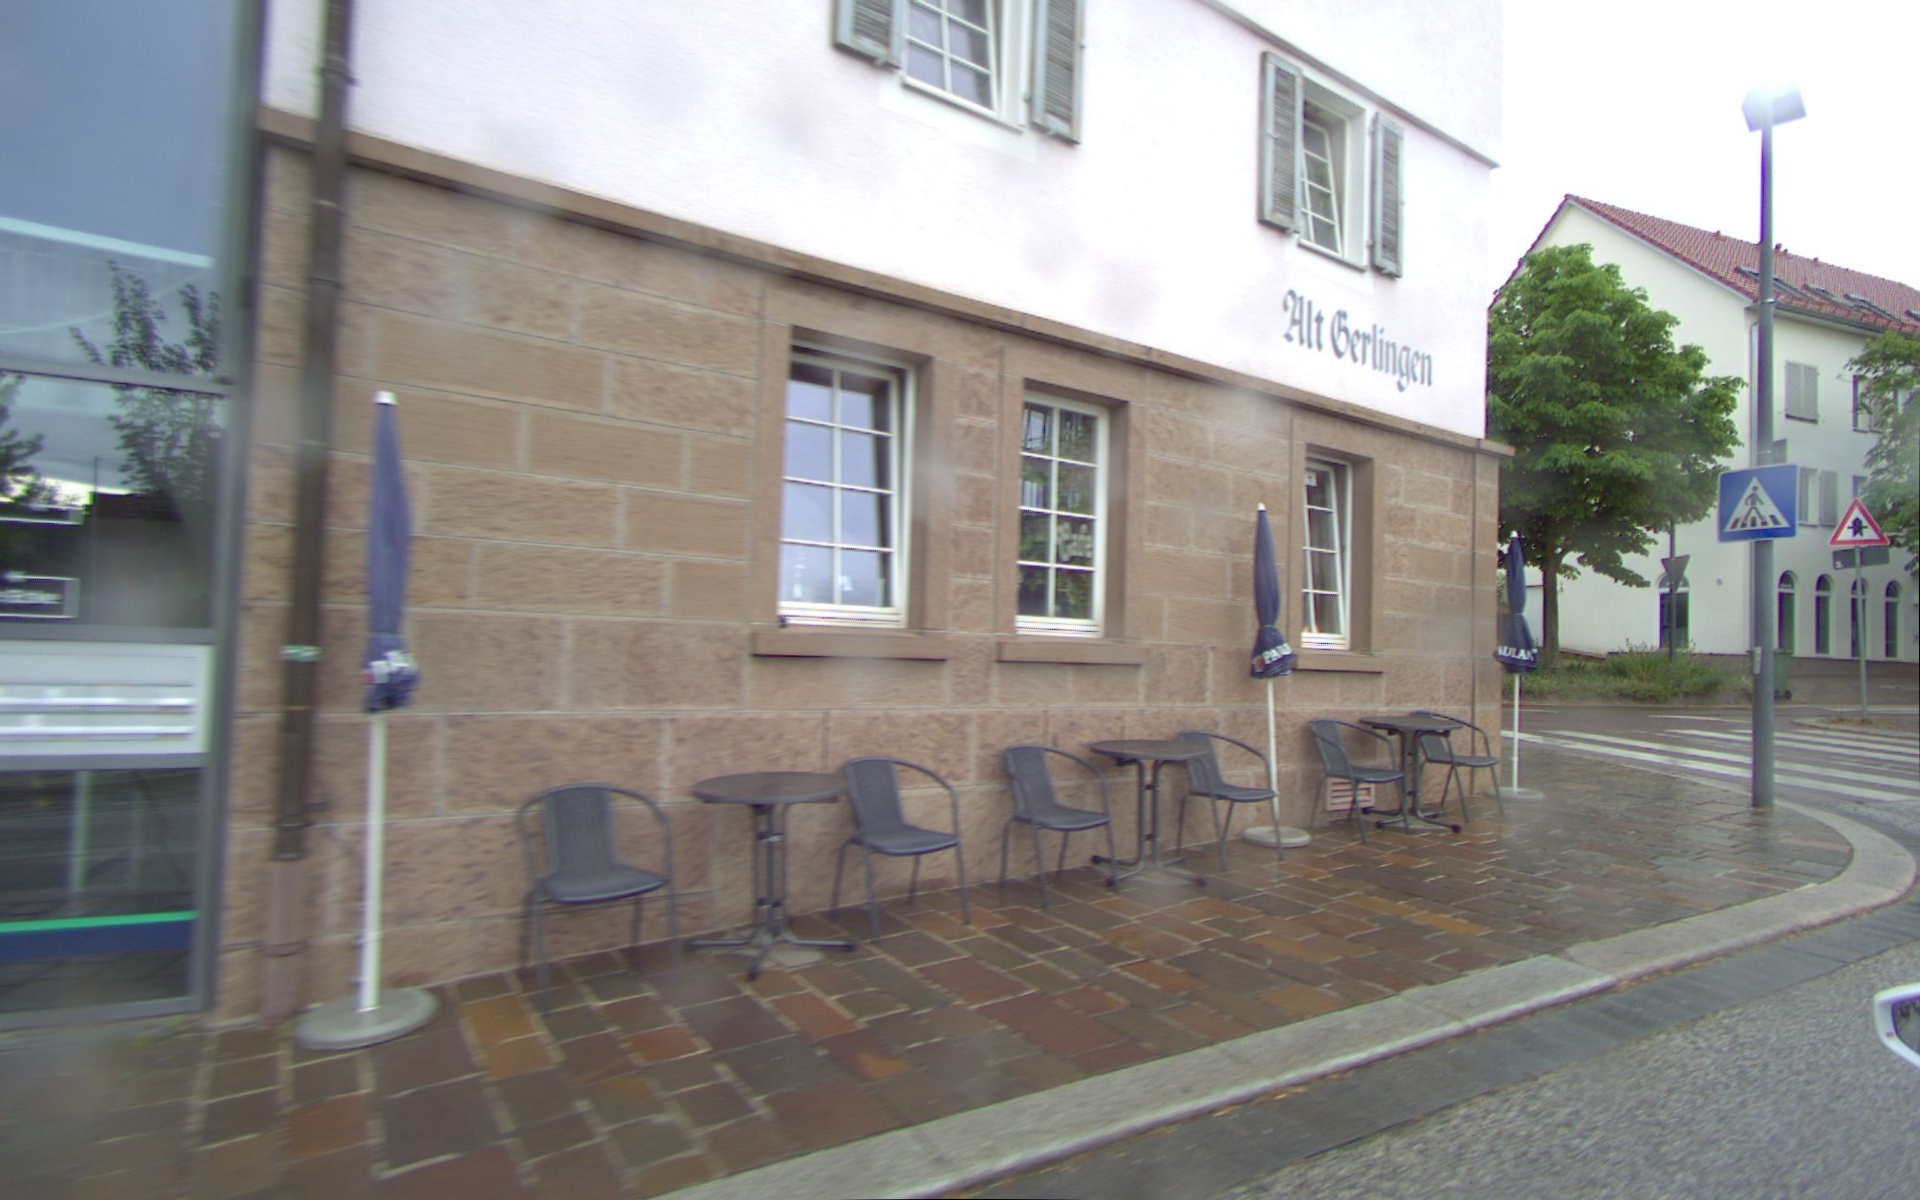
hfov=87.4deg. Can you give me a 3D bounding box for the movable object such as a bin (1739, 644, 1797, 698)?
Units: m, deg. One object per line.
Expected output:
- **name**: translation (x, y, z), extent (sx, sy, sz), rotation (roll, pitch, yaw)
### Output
- **movable object such as a bin**: translation (17.494, 1.538, 21.759), extent (0.639, 1.139, 0.737), rotation (1, -3, -15)
